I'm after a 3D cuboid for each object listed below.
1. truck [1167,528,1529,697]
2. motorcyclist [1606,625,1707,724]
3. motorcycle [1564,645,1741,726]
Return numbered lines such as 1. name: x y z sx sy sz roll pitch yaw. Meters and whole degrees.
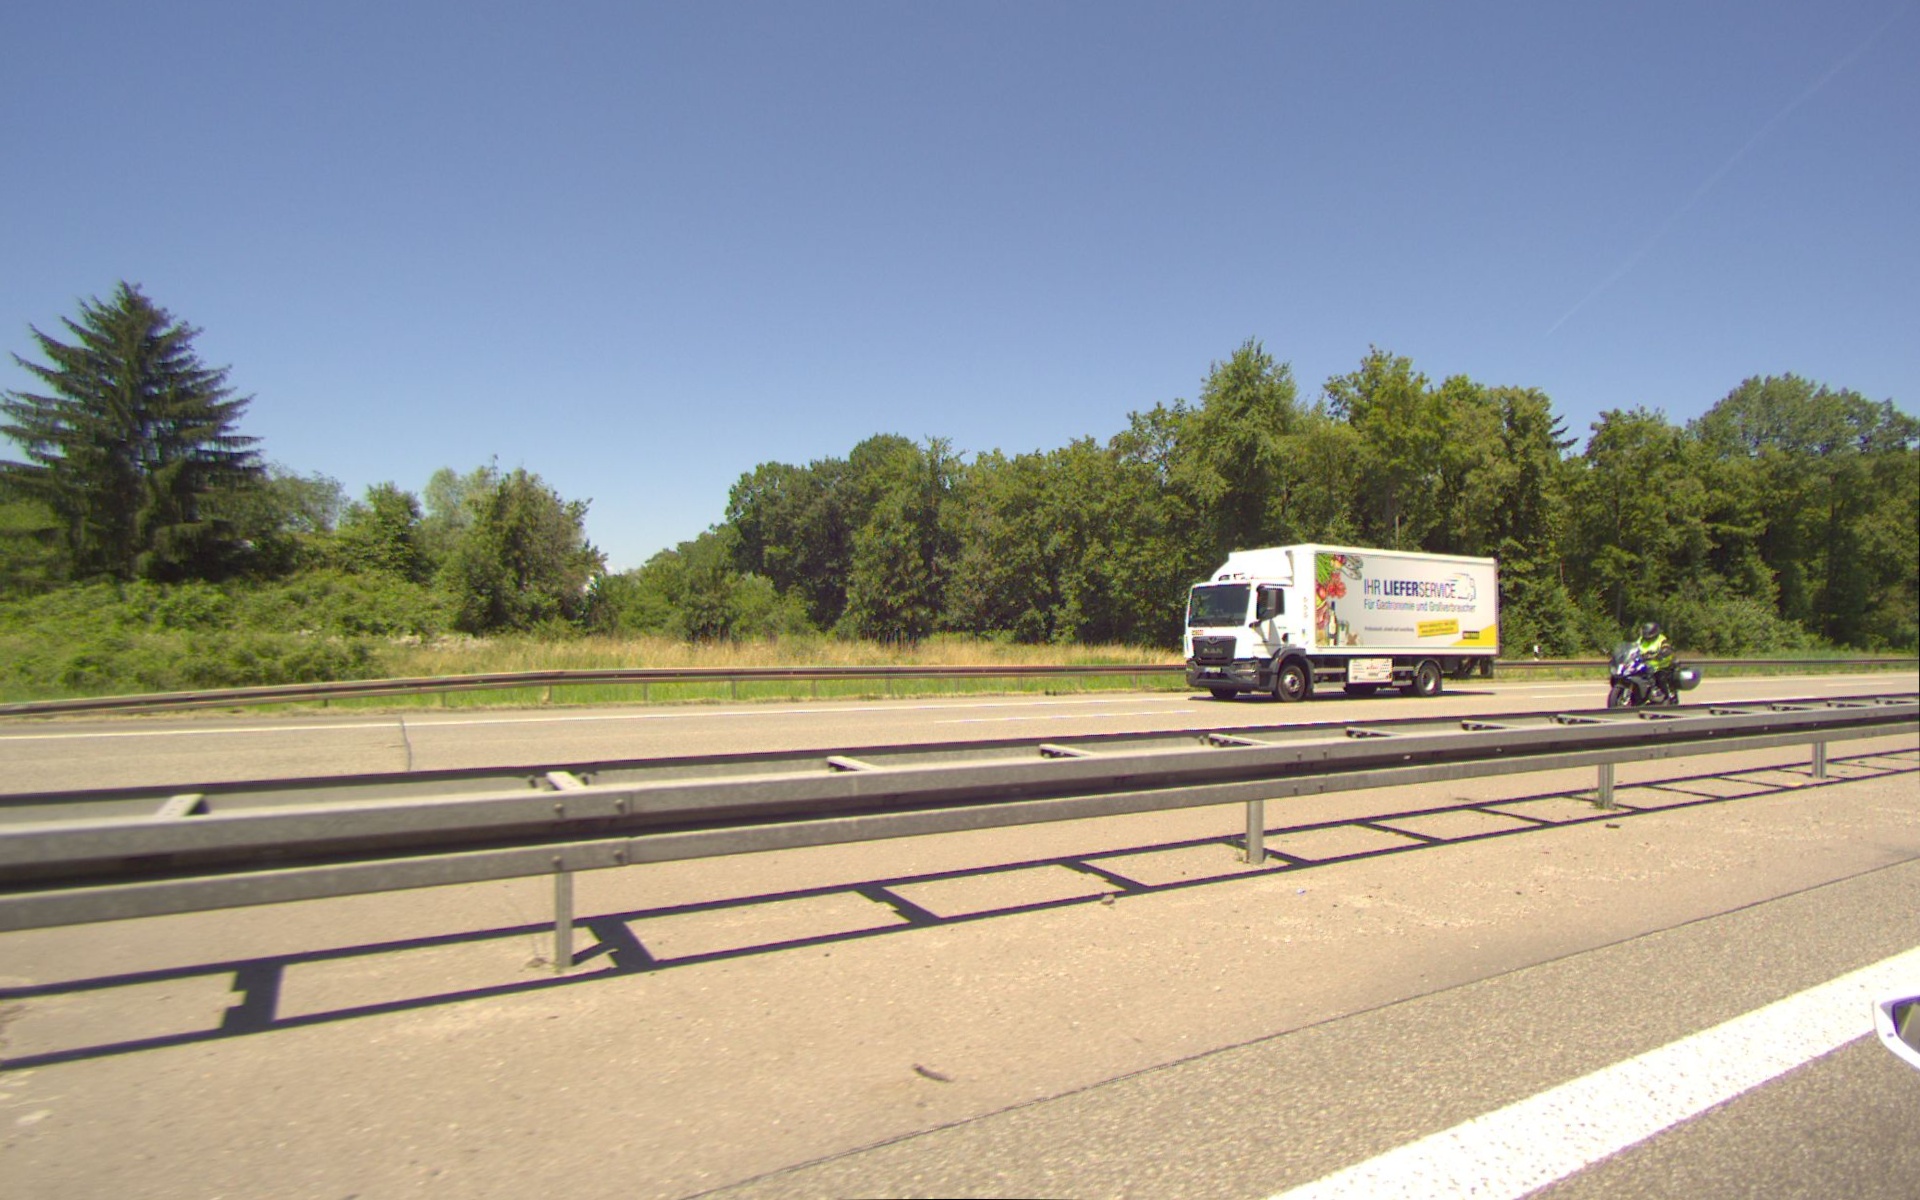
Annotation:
1. truck: 10.175 0.397 25.739 10.151 3.667 2.979 2 0 -31
2. motorcyclist: 12.077 1.261 17.424 1.138 1.621 1.036 2 0 -30
3. motorcycle: 12.067 1.439 17.437 3.766 1.254 1.029 2 0 -31
